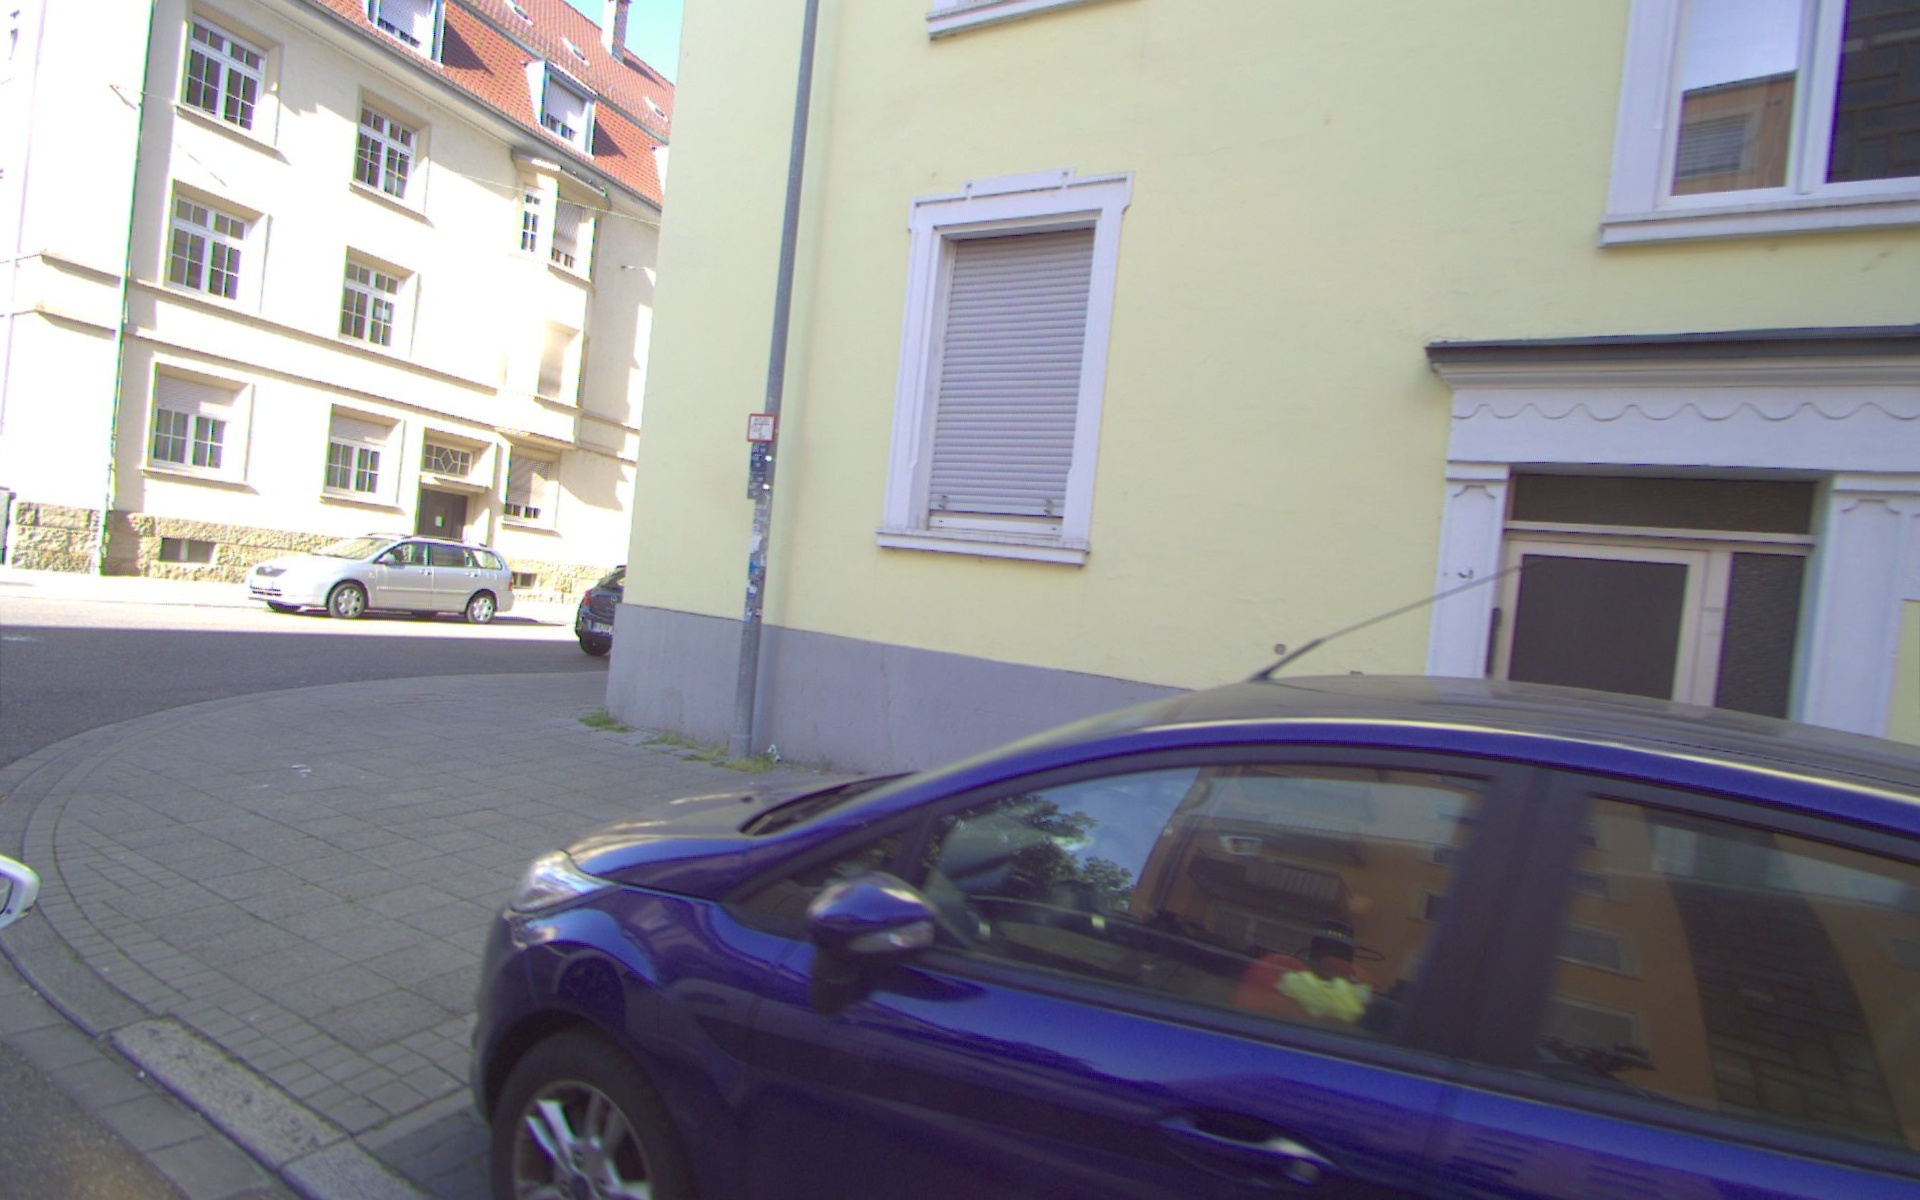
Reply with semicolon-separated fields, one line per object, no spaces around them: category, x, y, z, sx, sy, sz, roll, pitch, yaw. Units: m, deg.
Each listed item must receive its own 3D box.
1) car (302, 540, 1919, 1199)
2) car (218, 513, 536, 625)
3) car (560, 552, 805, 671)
car;0.766;0.841;2.064;4.013;1.491;1.764;7;3;27
car;-9.896;-0.443;17.553;1.795;1.486;4.549;5;-1;24
car;-4.197;0.232;15.779;1.662;1.486;3.631;7;0;24
